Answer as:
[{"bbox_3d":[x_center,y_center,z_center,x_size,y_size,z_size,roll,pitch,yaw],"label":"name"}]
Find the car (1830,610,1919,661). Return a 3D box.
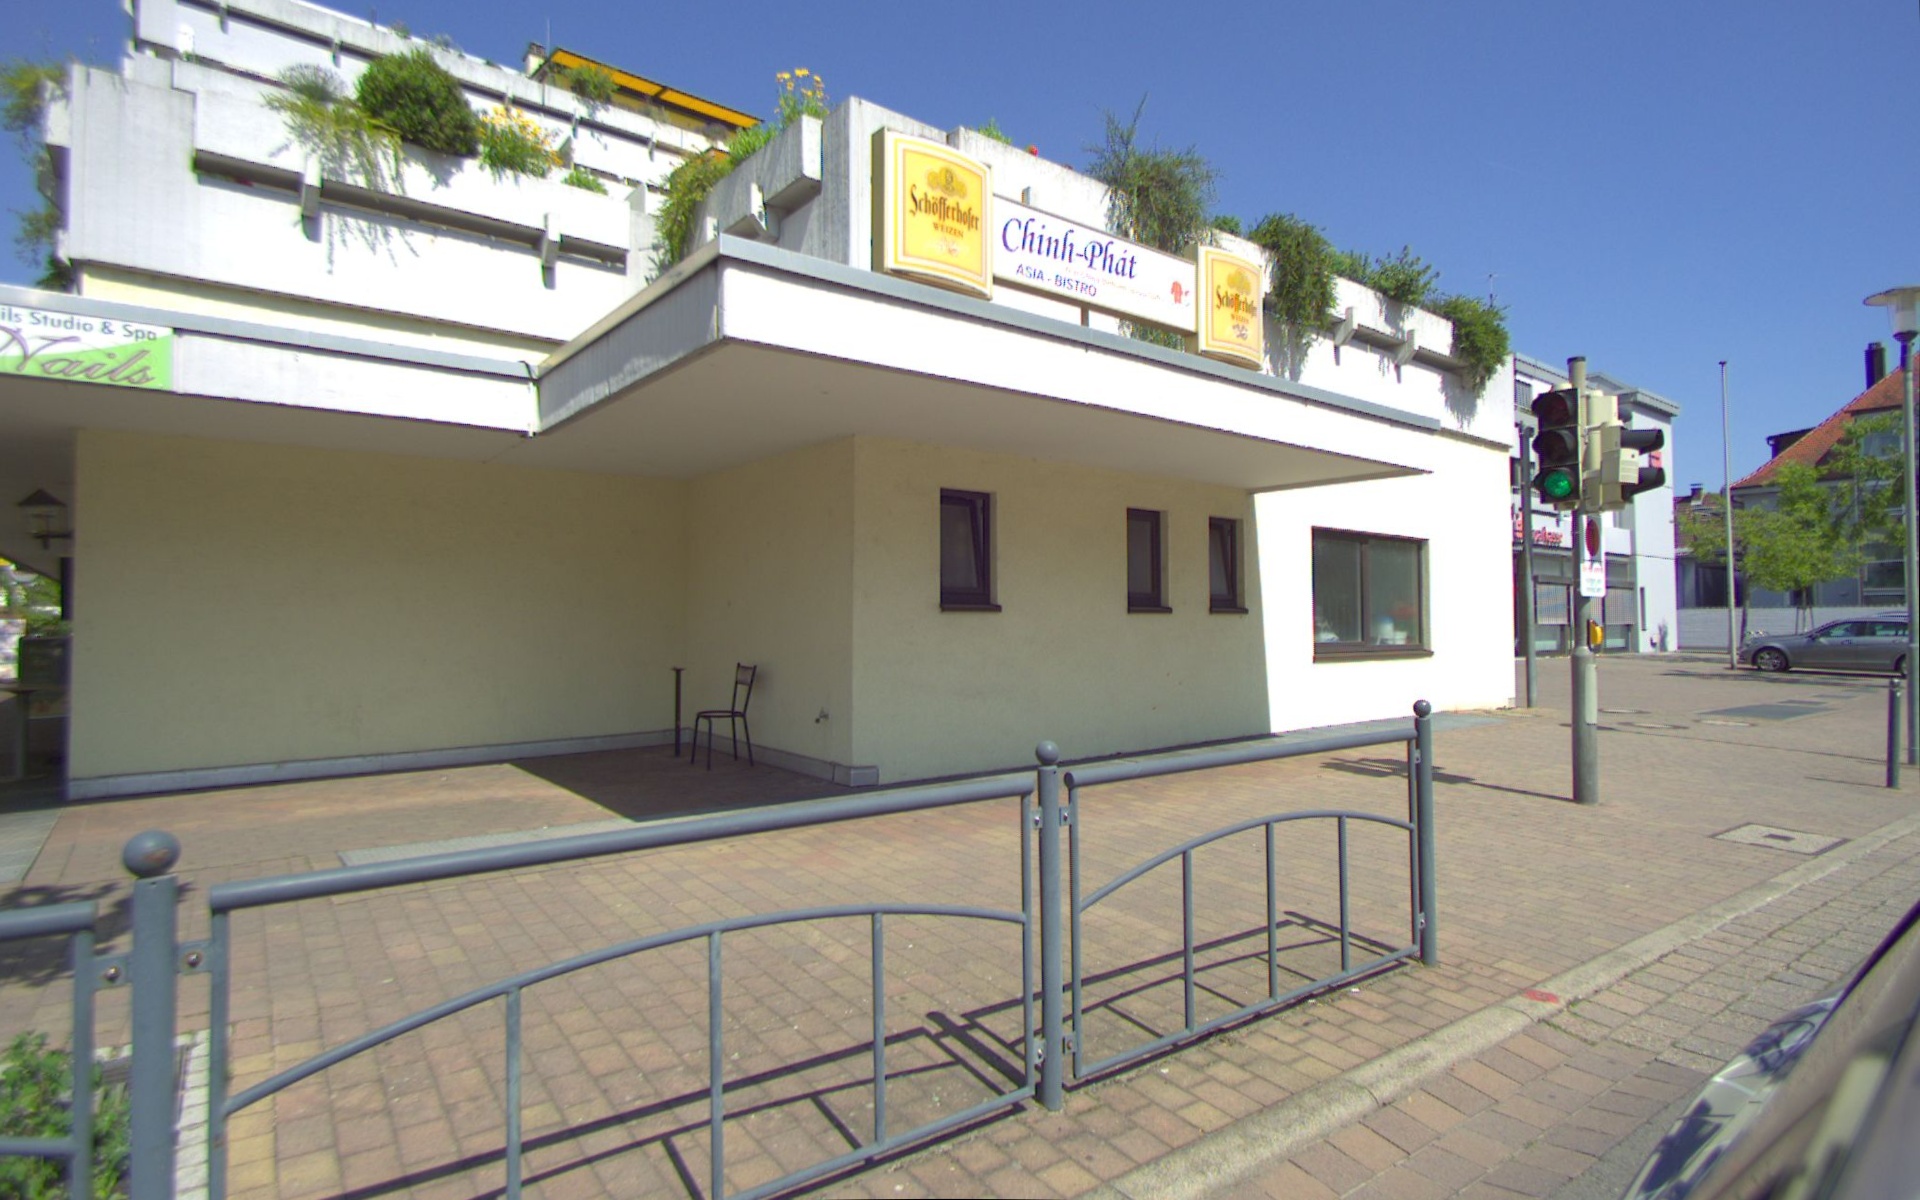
[{"bbox_3d":[28.713,1.046,29.888,1.628,1.461,4.437,1,0,-43],"label":"car"}]

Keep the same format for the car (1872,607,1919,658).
[{"bbox_3d":[30.705,1.007,31.383,1.464,1.572,3.427,1,-1,-39],"label":"car"}]

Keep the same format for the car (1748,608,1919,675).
[{"bbox_3d":[22.400,0.989,24.962,1.661,1.484,4.440,0,0,-40],"label":"car"}]

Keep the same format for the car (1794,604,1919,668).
[{"bbox_3d":[24.681,0.930,26.612,1.683,1.579,4.040,1,0,-41],"label":"car"}]
